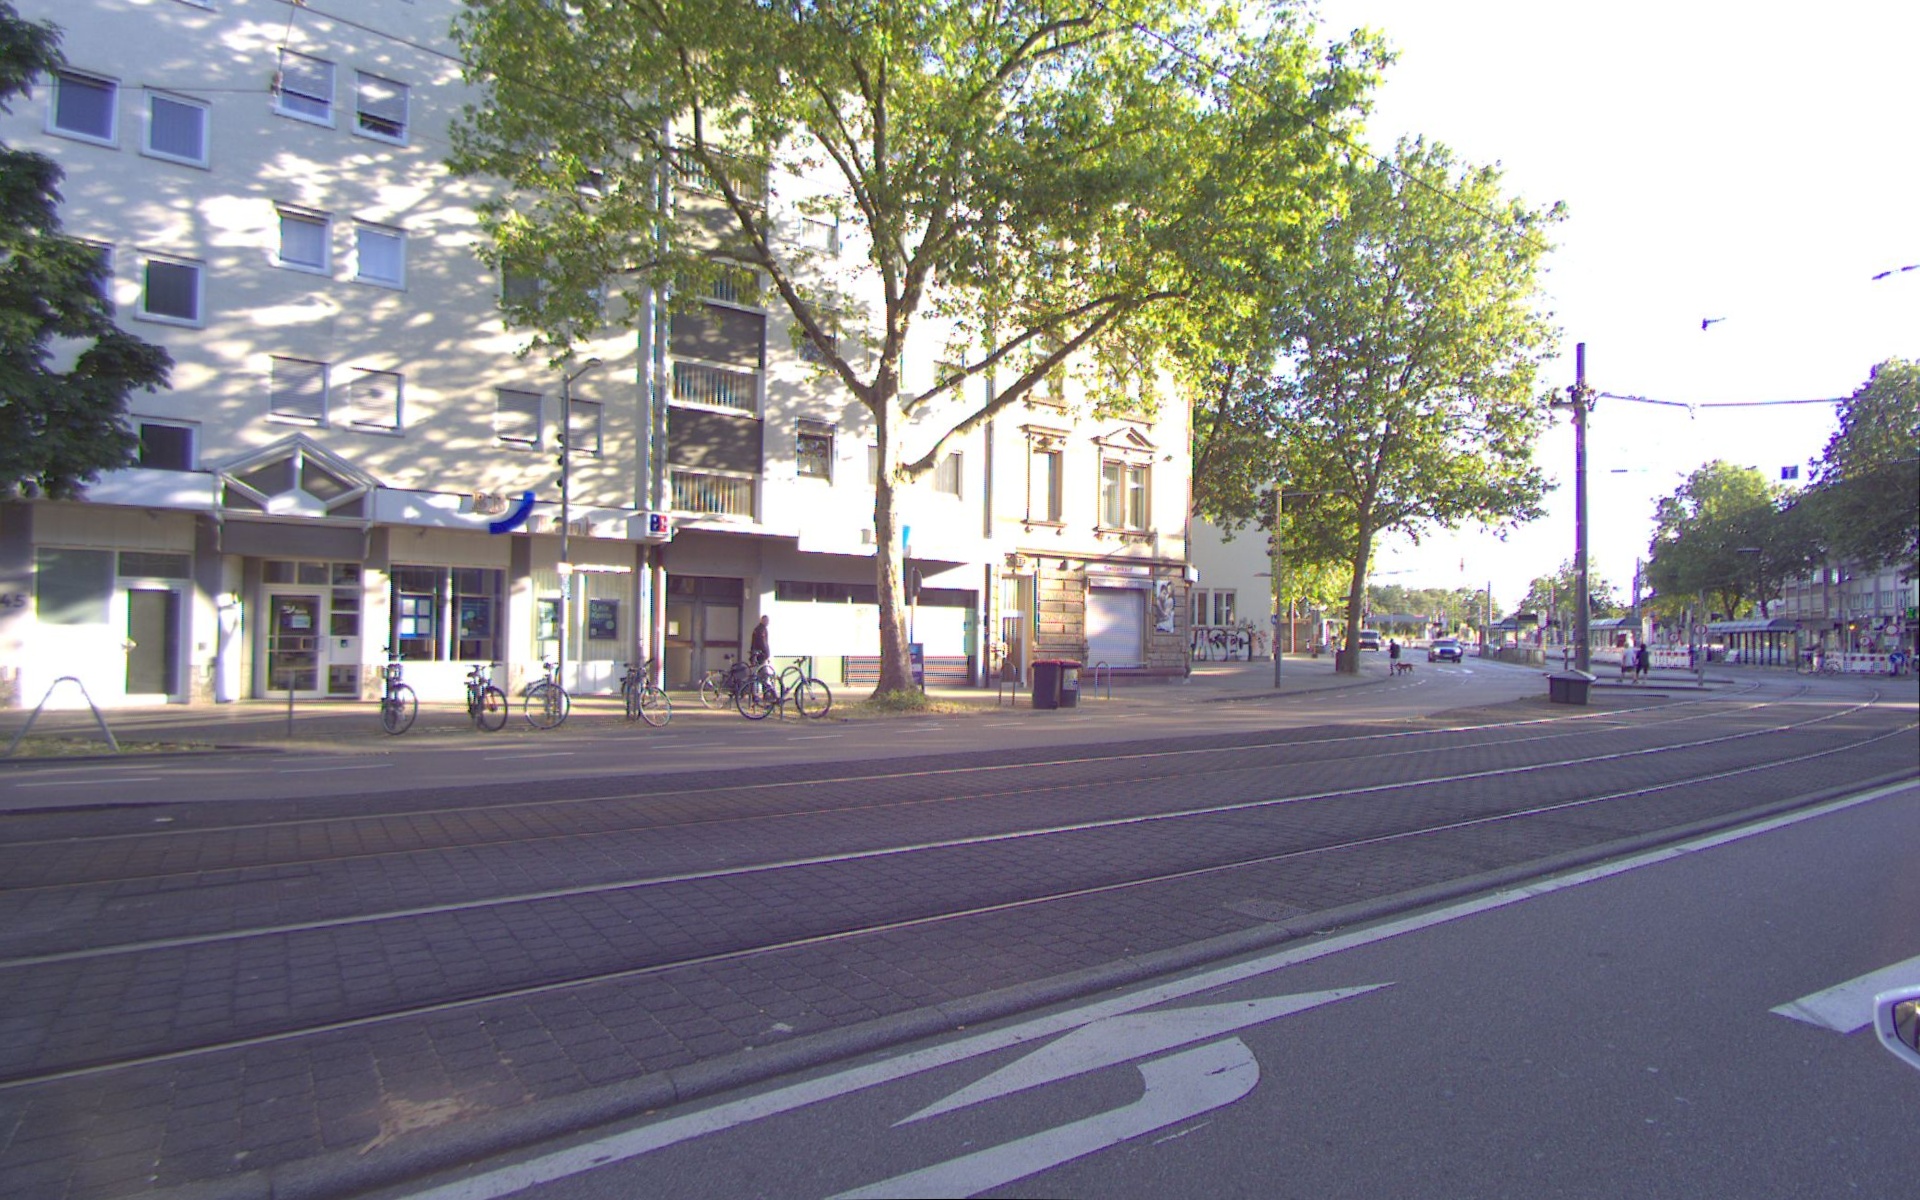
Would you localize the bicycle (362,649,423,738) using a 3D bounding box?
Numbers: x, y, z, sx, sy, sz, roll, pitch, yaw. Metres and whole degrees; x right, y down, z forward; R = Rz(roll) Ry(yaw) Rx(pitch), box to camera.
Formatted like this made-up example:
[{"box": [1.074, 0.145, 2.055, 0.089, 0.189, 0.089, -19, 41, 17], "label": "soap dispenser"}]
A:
[{"box": [-8.311, 1.329, 14.674, 0.529, 1.139, 1.880, 2, -1, -36], "label": "bicycle"}]

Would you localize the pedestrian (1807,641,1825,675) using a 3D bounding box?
[{"box": [45.571, 3.083, 53.500, 0.711, 1.748, 0.397, -1, -2, 41], "label": "pedestrian"}]

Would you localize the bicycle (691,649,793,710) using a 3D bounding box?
[{"box": [-4.294, 1.555, 19.828, 1.891, 1.139, 0.505, 2, -1, -34], "label": "bicycle"}]

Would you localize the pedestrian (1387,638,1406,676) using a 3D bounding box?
[{"box": [20.508, 2.679, 47.215, 0.663, 1.733, 0.431, 2, 0, 2], "label": "pedestrian"}]

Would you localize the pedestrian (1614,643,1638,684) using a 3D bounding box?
[{"box": [25.367, 2.420, 38.275, 0.583, 1.524, 0.520, 1, -2, -13], "label": "pedestrian"}]

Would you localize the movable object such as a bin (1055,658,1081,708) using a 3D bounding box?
[{"box": [2.433, 1.866, 22.642, 0.562, 1.108, 0.477, 0, -2, 5], "label": "movable object such as a bin"}]

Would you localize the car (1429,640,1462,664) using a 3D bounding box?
[{"box": [32.572, 3.482, 67.474, 1.856, 1.492, 4.205, 0, -2, 24], "label": "car"}]

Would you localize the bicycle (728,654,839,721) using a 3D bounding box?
[{"box": [-3.148, 1.550, 18.031, 1.891, 1.139, 0.505, 2, -1, -34], "label": "bicycle"}]

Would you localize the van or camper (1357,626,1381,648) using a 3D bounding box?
[{"box": [45.265, 4.141, 111.092, 2.133, 2.349, 5.100, -2, -3, 25], "label": "van or camper"}]

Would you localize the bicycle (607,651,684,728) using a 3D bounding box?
[{"box": [-5.320, 1.470, 16.912, 0.646, 1.139, 1.880, 2, -1, -36], "label": "bicycle"}]

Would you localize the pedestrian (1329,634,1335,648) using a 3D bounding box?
[{"box": [41.302, 4.596, 111.513, 0.507, 1.524, 0.558, 0, -2, 23], "label": "pedestrian"}]

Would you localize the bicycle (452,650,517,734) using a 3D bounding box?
[{"box": [-7.318, 1.377, 15.421, 0.529, 1.139, 1.880, 2, -1, -36], "label": "bicycle"}]

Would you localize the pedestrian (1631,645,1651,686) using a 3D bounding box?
[{"box": [26.031, 2.503, 38.386, 0.508, 1.524, 0.408, 1, -2, -14], "label": "pedestrian"}]

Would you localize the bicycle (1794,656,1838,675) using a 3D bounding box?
[{"box": [45.893, 3.494, 53.863, 1.819, 0.955, 0.461, -1, -2, 42], "label": "bicycle"}]

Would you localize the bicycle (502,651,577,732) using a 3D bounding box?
[{"box": [-6.679, 1.410, 15.893, 0.646, 1.139, 1.880, 2, -1, -36], "label": "bicycle"}]

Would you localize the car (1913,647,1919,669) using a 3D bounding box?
[{"box": [64.213, 3.798, 65.602, 1.635, 1.488, 3.412, -3, -3, 22], "label": "car"}]

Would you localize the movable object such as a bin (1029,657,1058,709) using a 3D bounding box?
[{"box": [1.832, 1.821, 22.027, 0.634, 1.108, 0.546, 0, -2, 5], "label": "movable object such as a bin"}]

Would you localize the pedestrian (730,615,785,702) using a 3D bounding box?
[{"box": [-4.352, 1.248, 21.592, 0.959, 1.811, 0.615, 2, 0, -31], "label": "pedestrian"}]
